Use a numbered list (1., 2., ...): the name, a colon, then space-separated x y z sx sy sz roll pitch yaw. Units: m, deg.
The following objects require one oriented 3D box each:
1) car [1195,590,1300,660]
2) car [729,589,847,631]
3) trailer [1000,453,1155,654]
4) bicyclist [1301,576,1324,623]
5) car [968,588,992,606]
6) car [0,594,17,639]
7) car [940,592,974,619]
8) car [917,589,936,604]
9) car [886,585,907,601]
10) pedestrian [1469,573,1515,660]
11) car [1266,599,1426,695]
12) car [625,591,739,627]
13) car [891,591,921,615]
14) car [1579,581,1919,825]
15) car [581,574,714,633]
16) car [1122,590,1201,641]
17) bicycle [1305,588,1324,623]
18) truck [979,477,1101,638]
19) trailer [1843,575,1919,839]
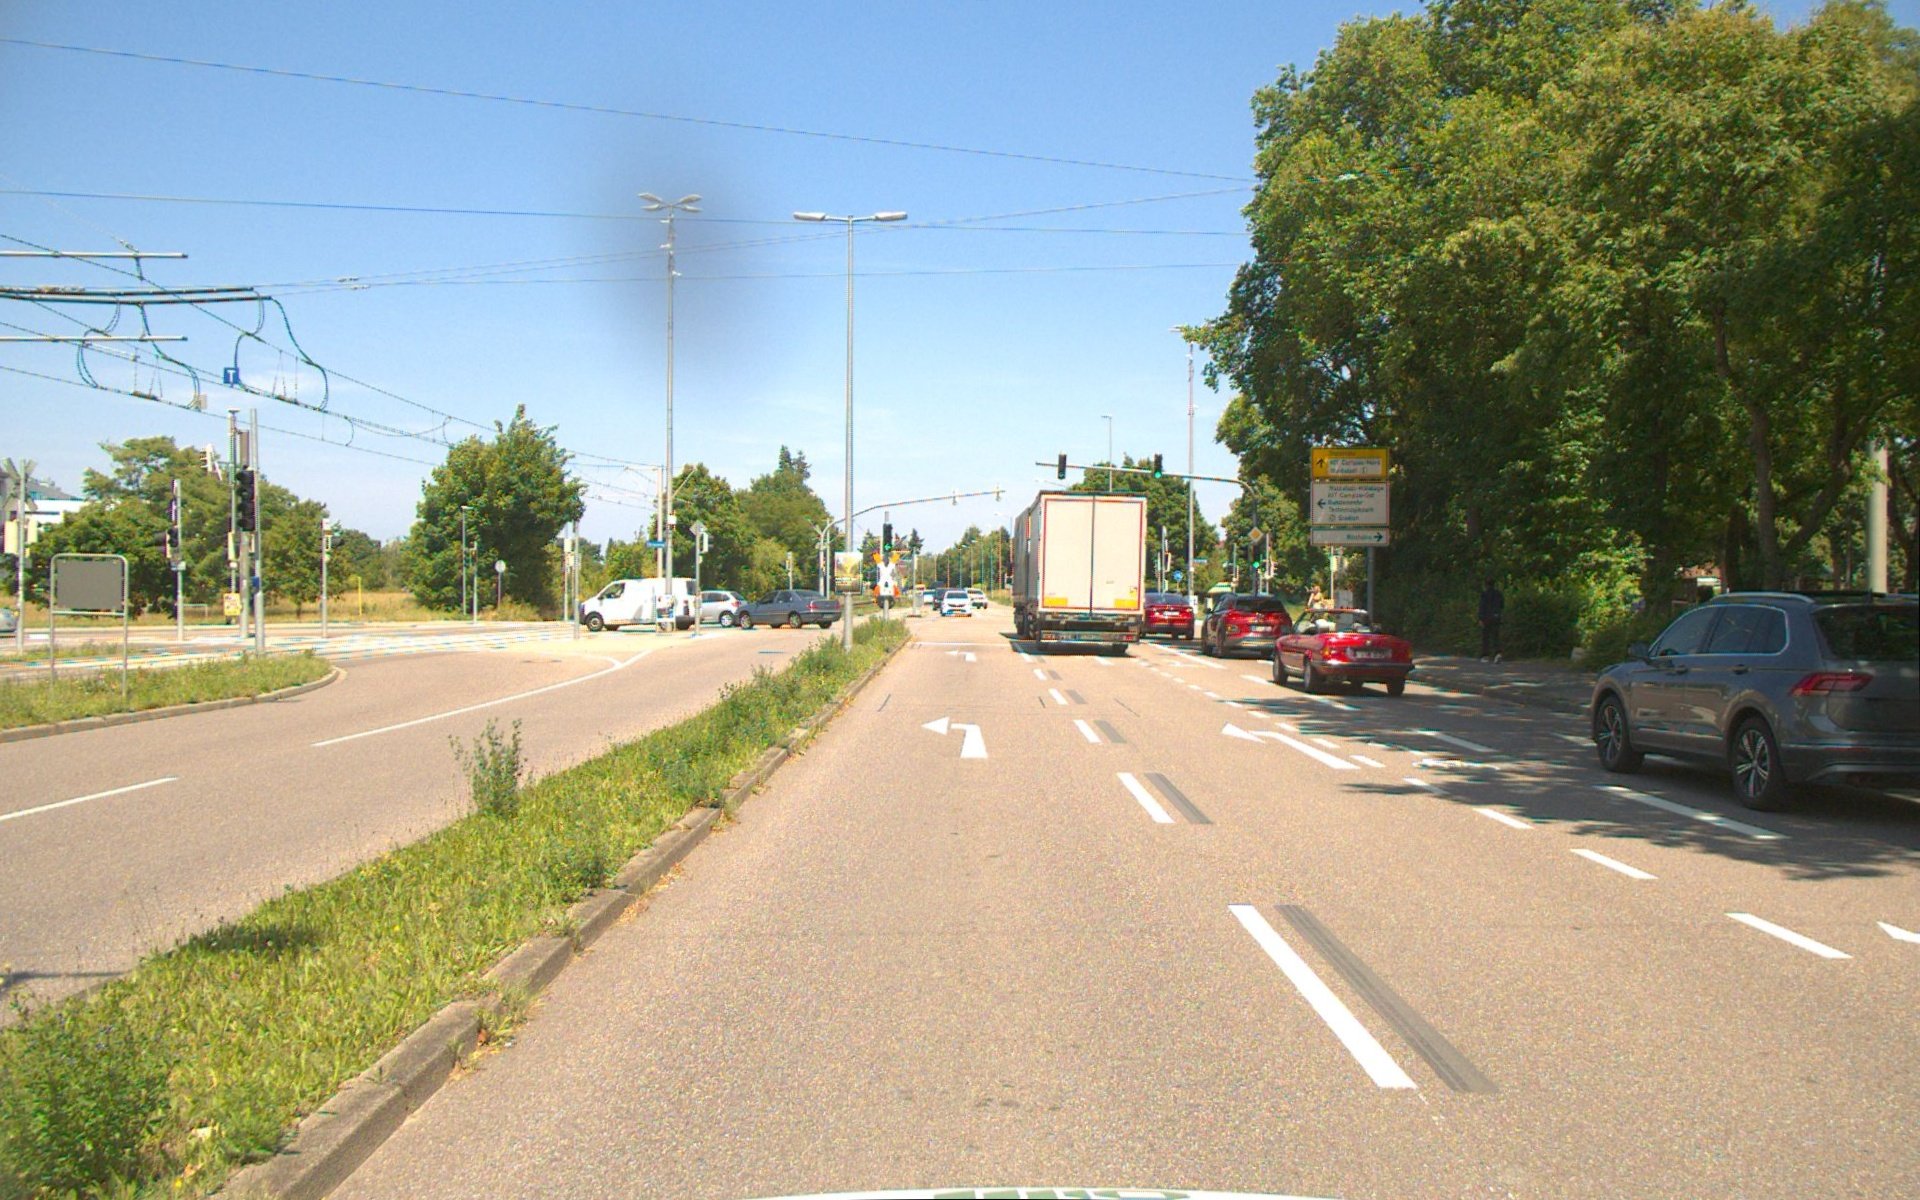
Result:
1. car: 7.050 0.575 40.955 1.820 1.576 3.886 2 1 -1
2. car: -6.272 0.327 60.139 4.352 1.395 1.887 2 2 42
3. trailer: 2.797 -1.110 42.205 2.771 4.498 8.744 2 1 -3
4. bicyclist: 13.550 -0.009 63.569 0.785 1.757 0.679 -2 0 11
5. car: 1.595 -0.256 133.560 1.820 1.396 4.155 2 1 -1
6. car: -30.914 0.493 49.932 4.224 1.316 1.979 0 1 -32
7. car: -0.198 0.294 94.124 1.820 1.396 4.155 2 1 -1
8. car: -3.300 -0.394 163.318 1.820 1.396 4.155 2 1 -1
9. car: -5.867 -0.666 153.753 1.820 1.396 4.155 2 1 -1
10. pedestrian: 11.433 0.346 35.576 0.737 1.847 0.693 -1 0 -1
11. car: 6.451 0.733 28.081 1.621 1.421 4.266 2 1 -1
12. car: -11.384 0.377 67.660 4.351 1.395 1.887 0 1 -21
13. car: -3.364 0.176 103.464 1.820 1.396 4.155 2 1 -1
14. car: 6.862 0.710 13.769 1.665 1.683 4.398 2 1 -1
15. car: -12.021 0.115 63.706 4.631 2.148 2.002 1 1 12
16. car: 6.548 0.472 54.250 1.953 1.529 4.501 0 1 -1
17. bicycle: 13.657 0.200 63.715 0.630 1.327 1.627 -2 0 11
18. truck: 2.297 -1.288 50.748 2.771 4.419 8.280 2 1 -3
19. trailer: 6.927 0.713 10.130 1.439 1.698 2.855 2 1 -1
